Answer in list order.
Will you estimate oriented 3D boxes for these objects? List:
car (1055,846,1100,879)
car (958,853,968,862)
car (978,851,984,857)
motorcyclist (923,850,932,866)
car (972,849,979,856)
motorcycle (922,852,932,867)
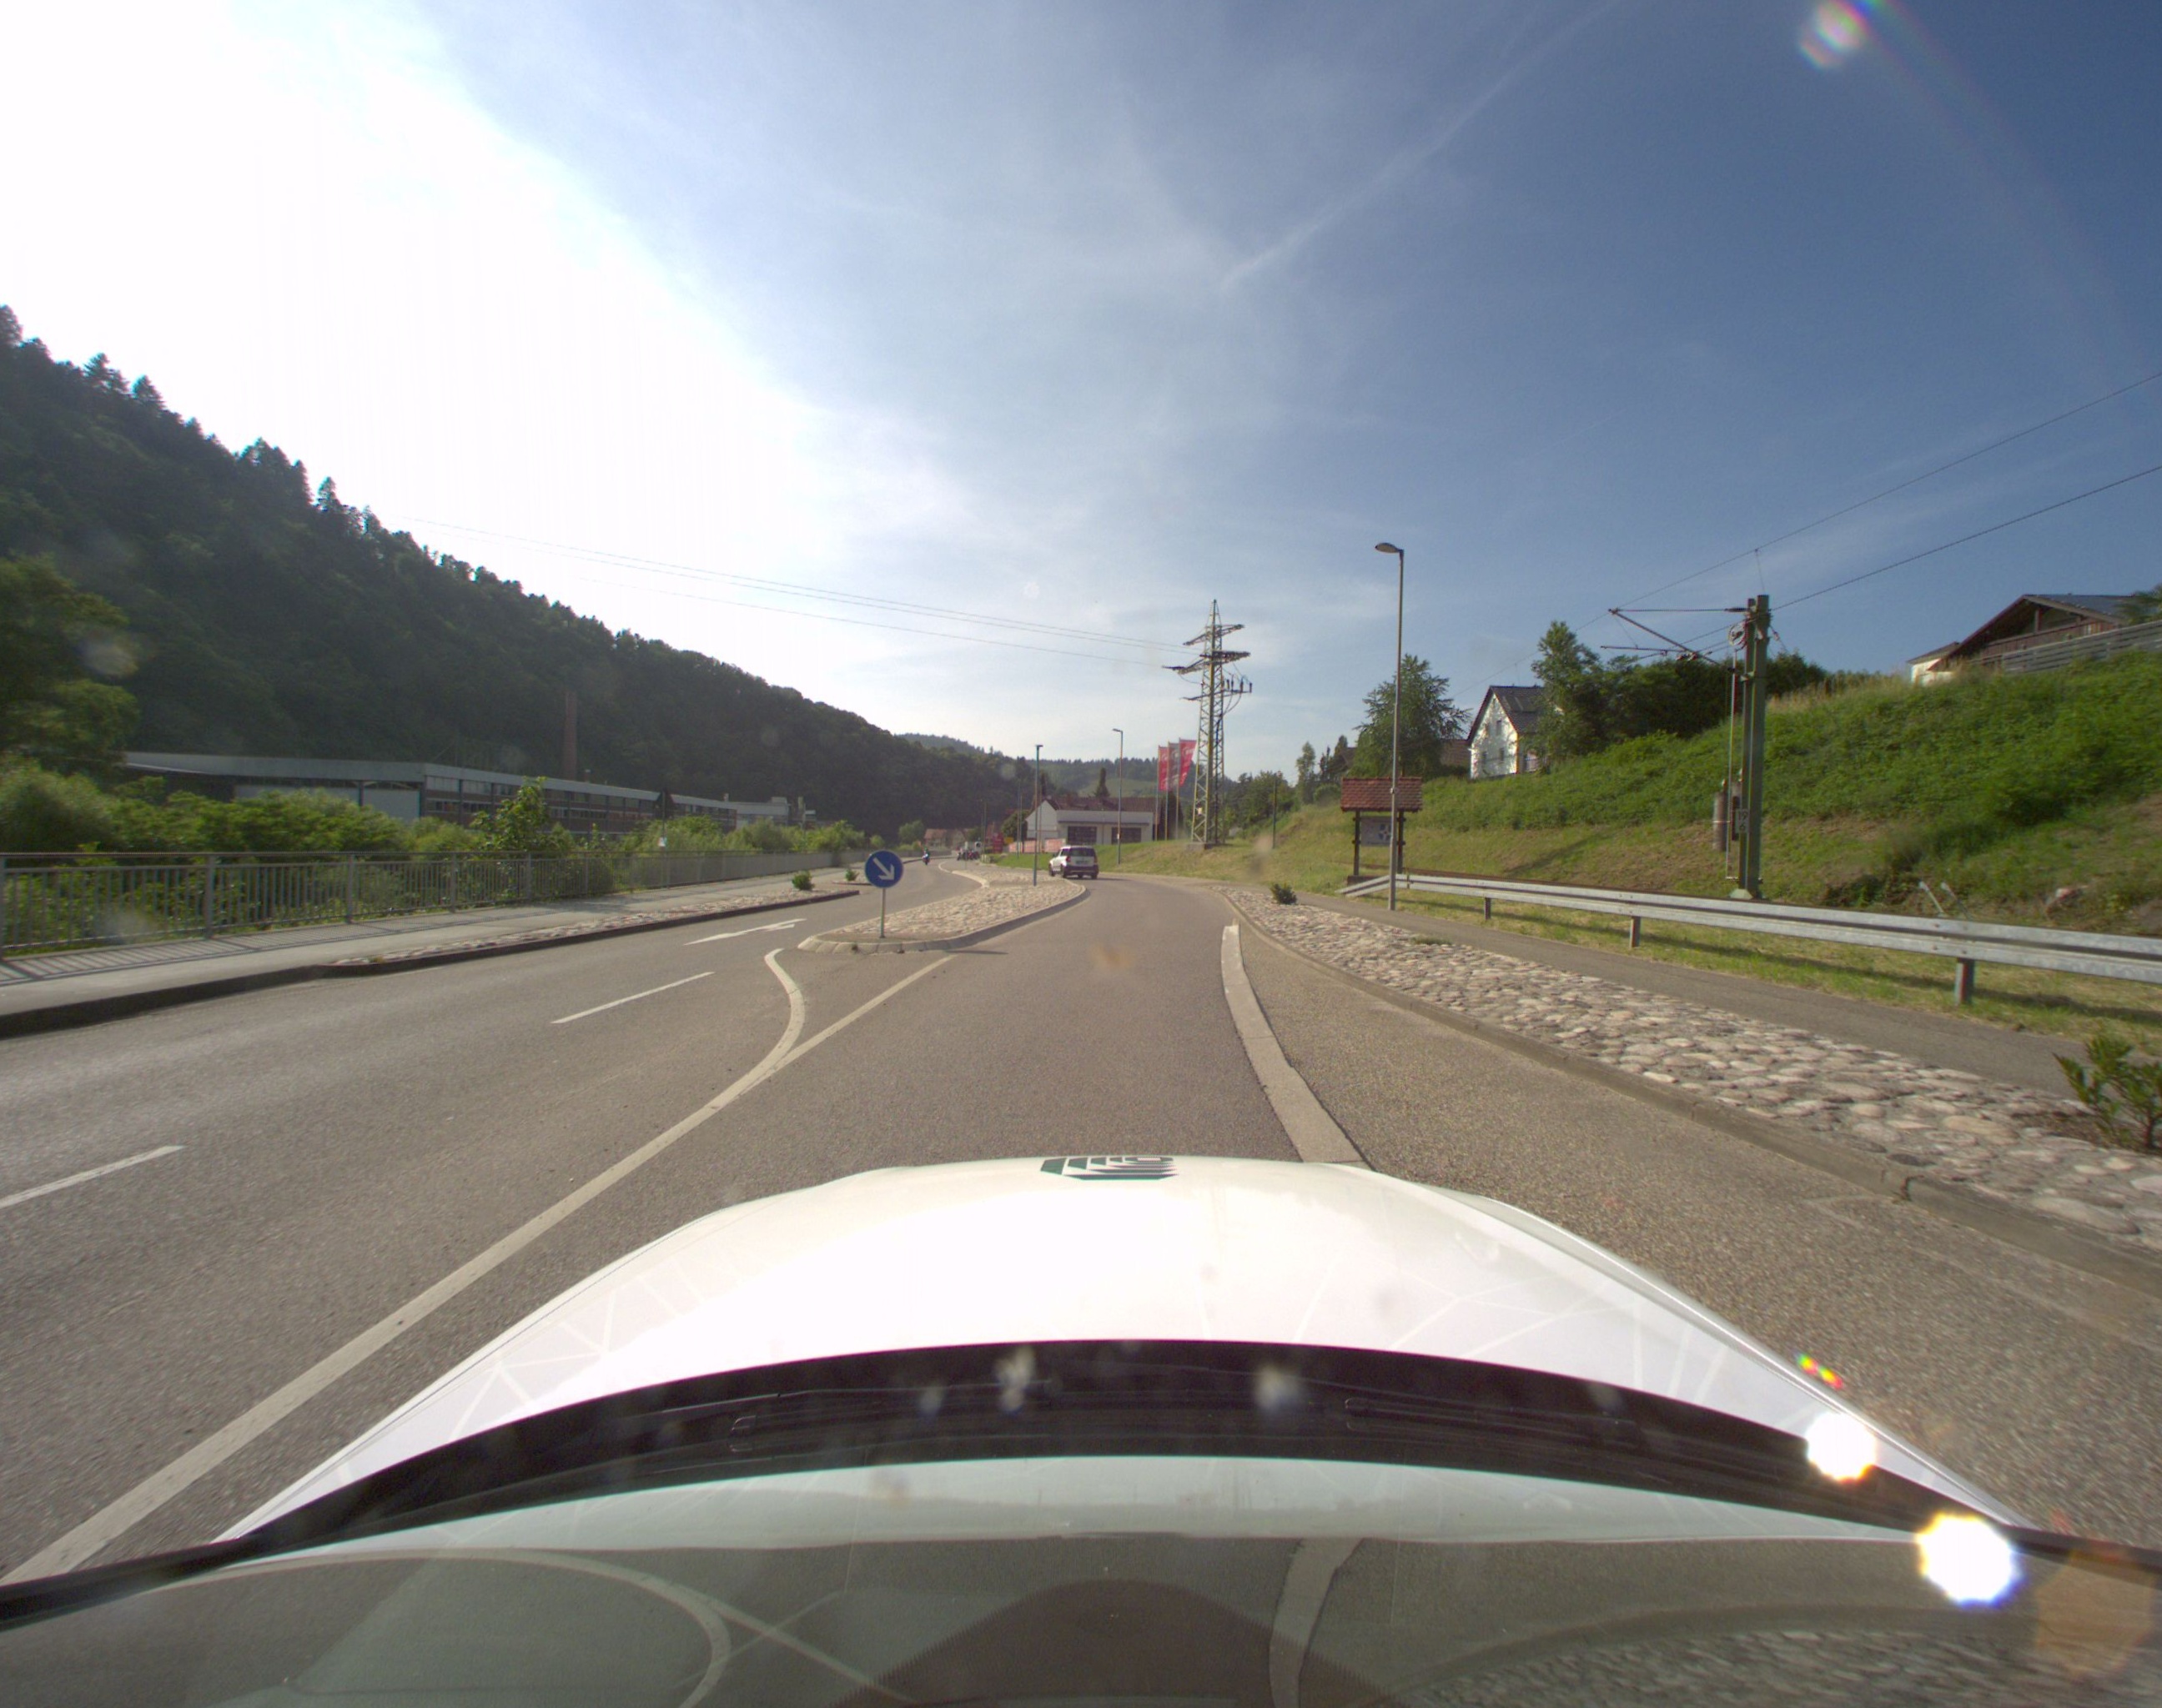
[{"bbox_3d":[-0.221,0.408,41.006,1.858,1.544,4.365,2,0,-5],"label":"car"},{"bbox_3d":[-19.660,0.535,135.947,1.451,1.435,2.931,2,1,-4],"label":"car"},{"bbox_3d":[-20.632,0.025,168.073,1.169,1.155,2.676,2,1,-9],"label":"car"},{"bbox_3d":[-15.545,0.411,82.434,0.762,1.678,0.725,0,-1,-5],"label":"motorcyclist"},{"bbox_3d":[-20.356,-0.303,157.254,1.290,1.435,2.801,2,1,-5],"label":"car"},{"bbox_3d":[-15.562,0.551,82.457,0.771,1.422,2.314,0,0,-6],"label":"motorcycle"}]
